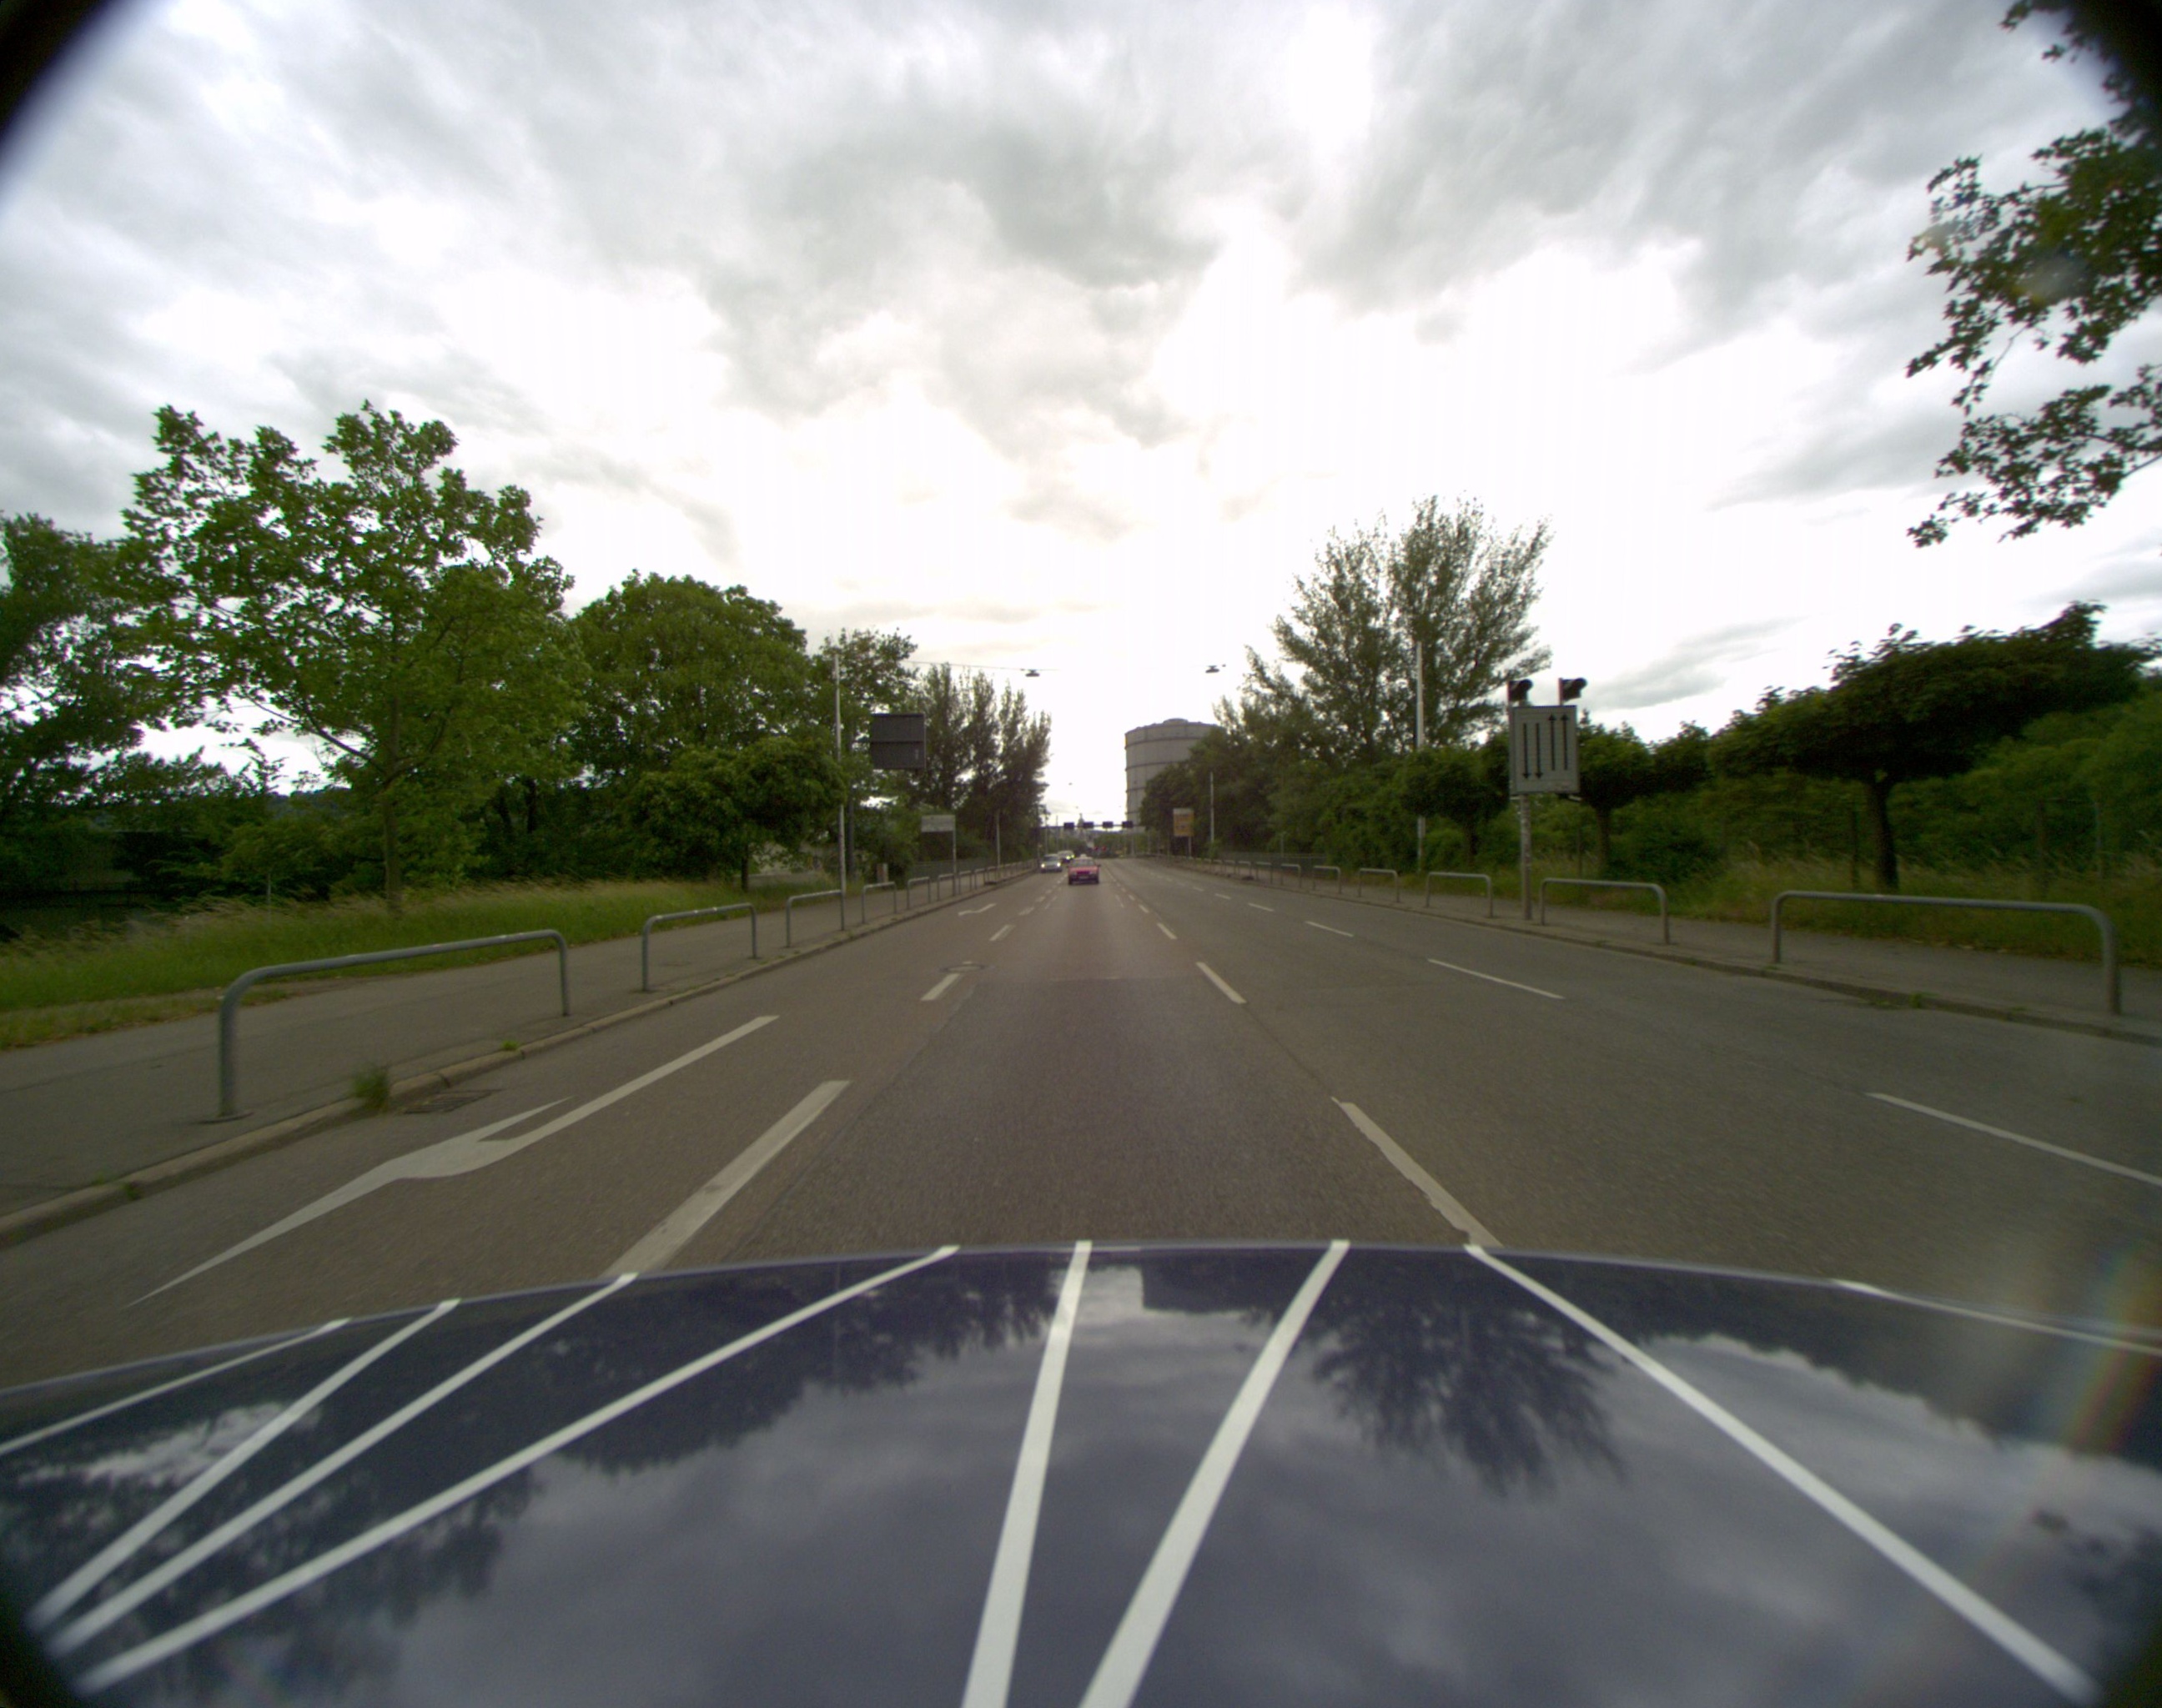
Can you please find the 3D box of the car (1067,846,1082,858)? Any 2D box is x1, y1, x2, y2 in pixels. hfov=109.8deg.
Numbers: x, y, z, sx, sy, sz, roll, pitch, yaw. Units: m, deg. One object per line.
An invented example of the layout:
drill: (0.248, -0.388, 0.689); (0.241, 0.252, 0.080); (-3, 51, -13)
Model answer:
car: (-0.982, -0.327, 114.566); (1.998, 1.775, 4.001); (-1, 0, 2)

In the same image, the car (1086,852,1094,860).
car: (2.406, 0.533, 201.467); (1.998, 1.792, 4.001); (-3, 0, 4)

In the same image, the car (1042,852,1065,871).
car: (-2.380, 0.656, 67.168); (1.771, 1.565, 4.000); (-1, 0, 1)

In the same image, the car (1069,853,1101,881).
car: (0.232, 0.696, 42.147); (1.696, 1.434, 4.000); (0, 0, 1)

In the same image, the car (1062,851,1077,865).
car: (-1.422, 0.522, 97.228); (1.776, 1.696, 4.000); (-3, 0, 0)
